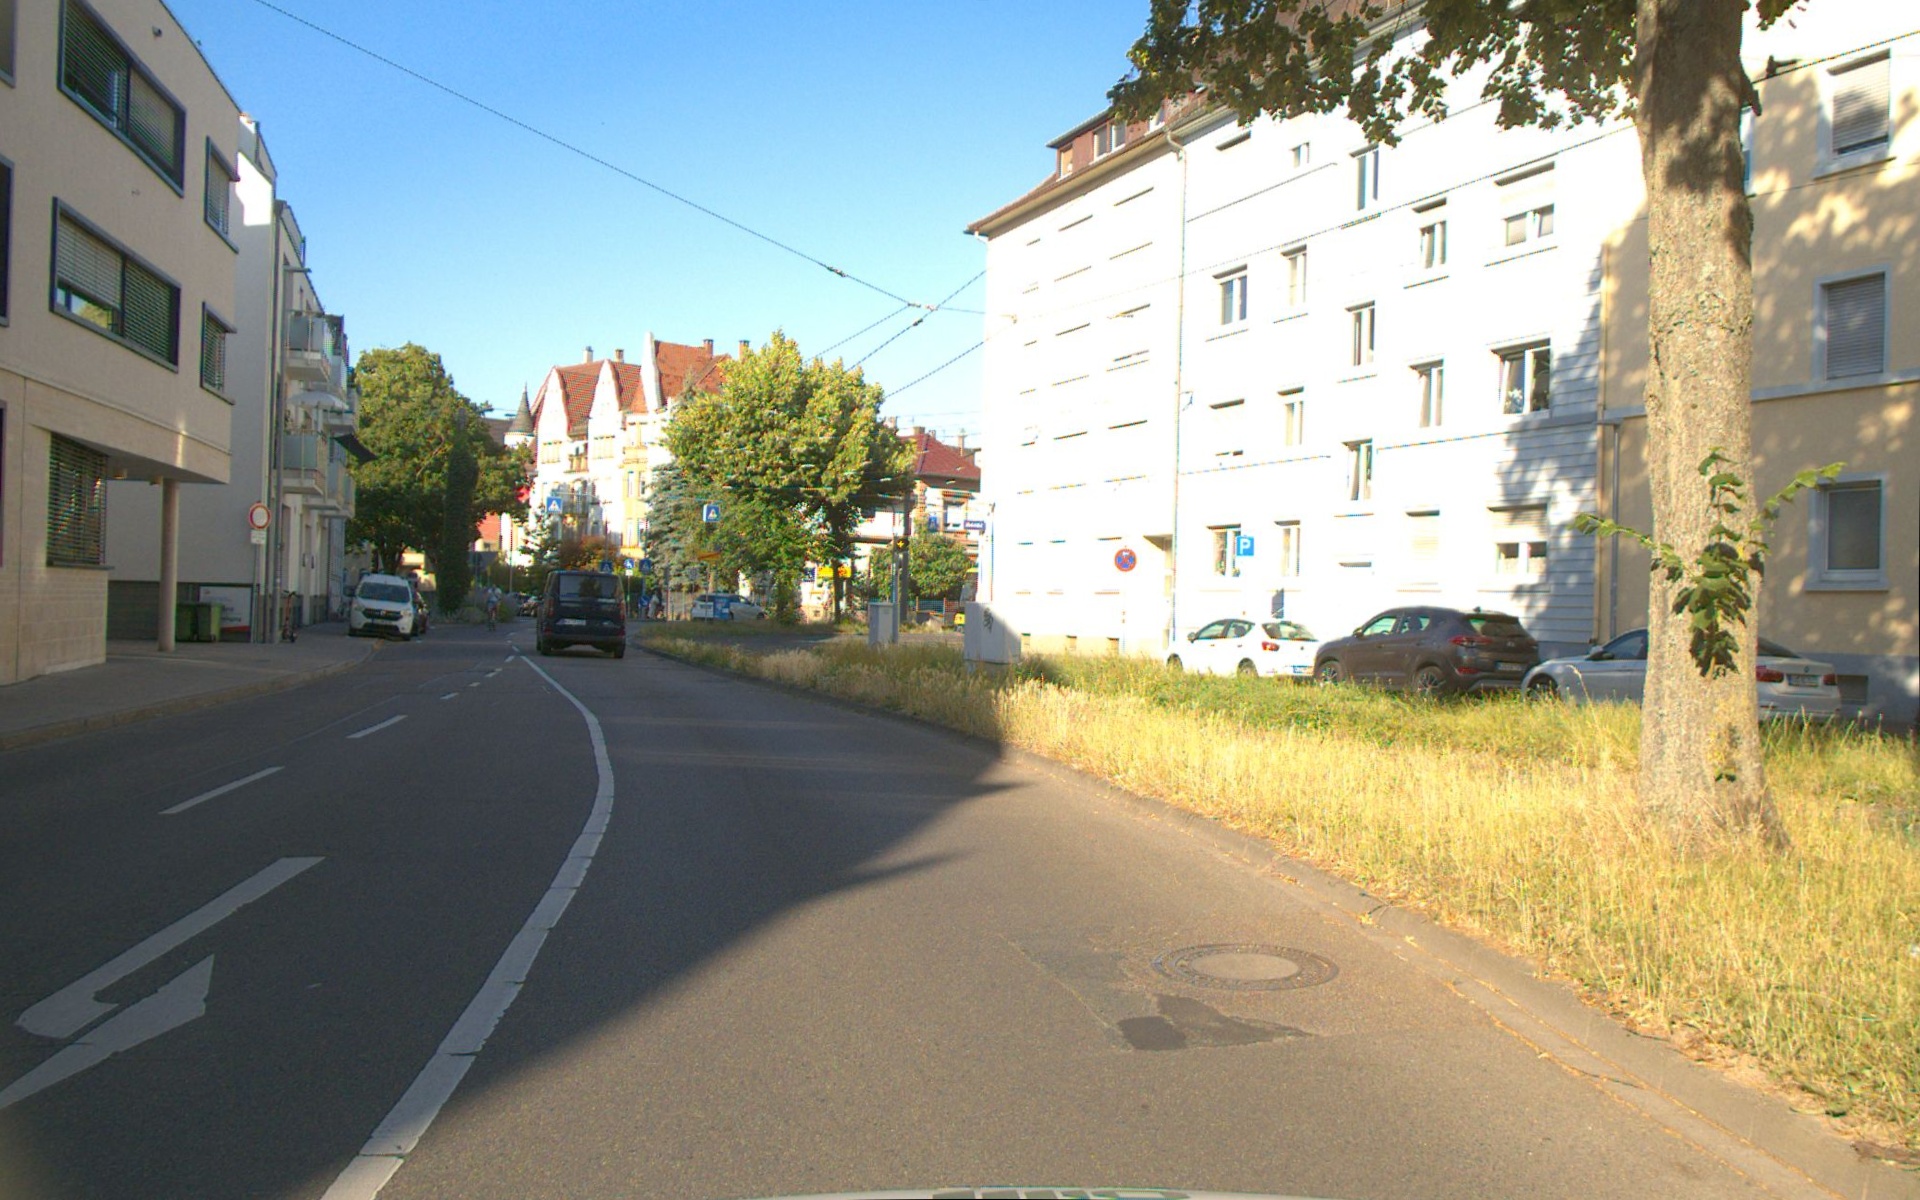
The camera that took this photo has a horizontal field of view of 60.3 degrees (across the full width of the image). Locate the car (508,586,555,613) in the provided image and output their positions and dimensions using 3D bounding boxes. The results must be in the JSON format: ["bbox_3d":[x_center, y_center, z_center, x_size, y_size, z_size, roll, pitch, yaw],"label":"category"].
[{"bbox_3d":[-27.091,-0.028,104.499,1.970,1.624,3.965,2,-1,-27],"label":"car"}]

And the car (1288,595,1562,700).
[{"bbox_3d":[7.676,0.729,27.781,1.968,1.599,4.606,0,0,-24],"label":"car"}]

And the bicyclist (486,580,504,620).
[{"bbox_3d":[-16.489,-0.002,58.615,0.612,1.404,0.797,0,0,-17],"label":"bicyclist"}]

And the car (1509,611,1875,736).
[{"bbox_3d":[9.843,0.917,22.631,1.968,1.410,4.413,0,1,-24],"label":"car"}]

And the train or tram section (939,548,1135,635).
[{"bbox_3d":[3.533,-0.302,72.966,2.738,3.618,9.848,1,0,45],"label":"train or tram section"}]

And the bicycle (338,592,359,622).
[{"bbox_3d":[-23.722,0.256,64.138,0.570,1.129,1.855,2,-1,-26],"label":"bicycle"}]

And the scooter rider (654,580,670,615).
[{"bbox_3d":[-14.712,-0.137,81.666,0.599,1.702,0.649,0,0,-27],"label":"scooter rider"}]

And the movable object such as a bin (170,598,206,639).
[{"bbox_3d":[-17.910,0.428,38.390,0.536,0.917,0.530,2,-1,5],"label":"movable object such as a bin"}]

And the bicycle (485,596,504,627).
[{"bbox_3d":[-16.477,0.408,58.562,0.612,1.100,1.775,0,0,-17],"label":"bicycle"}]

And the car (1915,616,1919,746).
[{"bbox_3d":[12.195,0.928,16.419,1.968,1.410,4.413,0,1,-24],"label":"car"}]

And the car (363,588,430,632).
[{"bbox_3d":[-18.060,0.319,53.129,1.636,1.296,4.010,3,-1,-14],"label":"car"}]

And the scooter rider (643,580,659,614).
[{"bbox_3d":[-15.179,-0.147,81.214,0.599,1.702,0.649,0,0,-27],"label":"scooter rider"}]

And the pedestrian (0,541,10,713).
[{"bbox_3d":[-10.709,0.283,17.676,0.594,1.881,0.990,2,-1,-11],"label":"pedestrian"}]

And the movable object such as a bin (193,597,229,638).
[{"bbox_3d":[-17.355,0.408,38.333,0.536,0.917,0.530,2,-1,5],"label":"movable object such as a bin"}]

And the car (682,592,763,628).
[{"bbox_3d":[-10.391,0.402,72.623,1.919,1.531,3.684,0,0,23],"label":"car"}]

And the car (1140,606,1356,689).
[{"bbox_3d":[5.589,0.882,32.652,1.970,1.410,4.407,0,1,-27],"label":"car"}]

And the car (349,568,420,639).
[{"bbox_3d":[-16.775,0.100,48.194,1.784,1.902,4.307,3,-1,-20],"label":"car"}]

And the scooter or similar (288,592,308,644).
[{"bbox_3d":[-16.302,0.440,40.709,0.222,1.241,1.143,2,0,-31],"label":"scooter or similar"}]

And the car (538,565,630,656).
[{"bbox_3d":[-9.092,0.233,40.304,1.958,2.049,3.990,2,0,-11],"label":"car"}]
